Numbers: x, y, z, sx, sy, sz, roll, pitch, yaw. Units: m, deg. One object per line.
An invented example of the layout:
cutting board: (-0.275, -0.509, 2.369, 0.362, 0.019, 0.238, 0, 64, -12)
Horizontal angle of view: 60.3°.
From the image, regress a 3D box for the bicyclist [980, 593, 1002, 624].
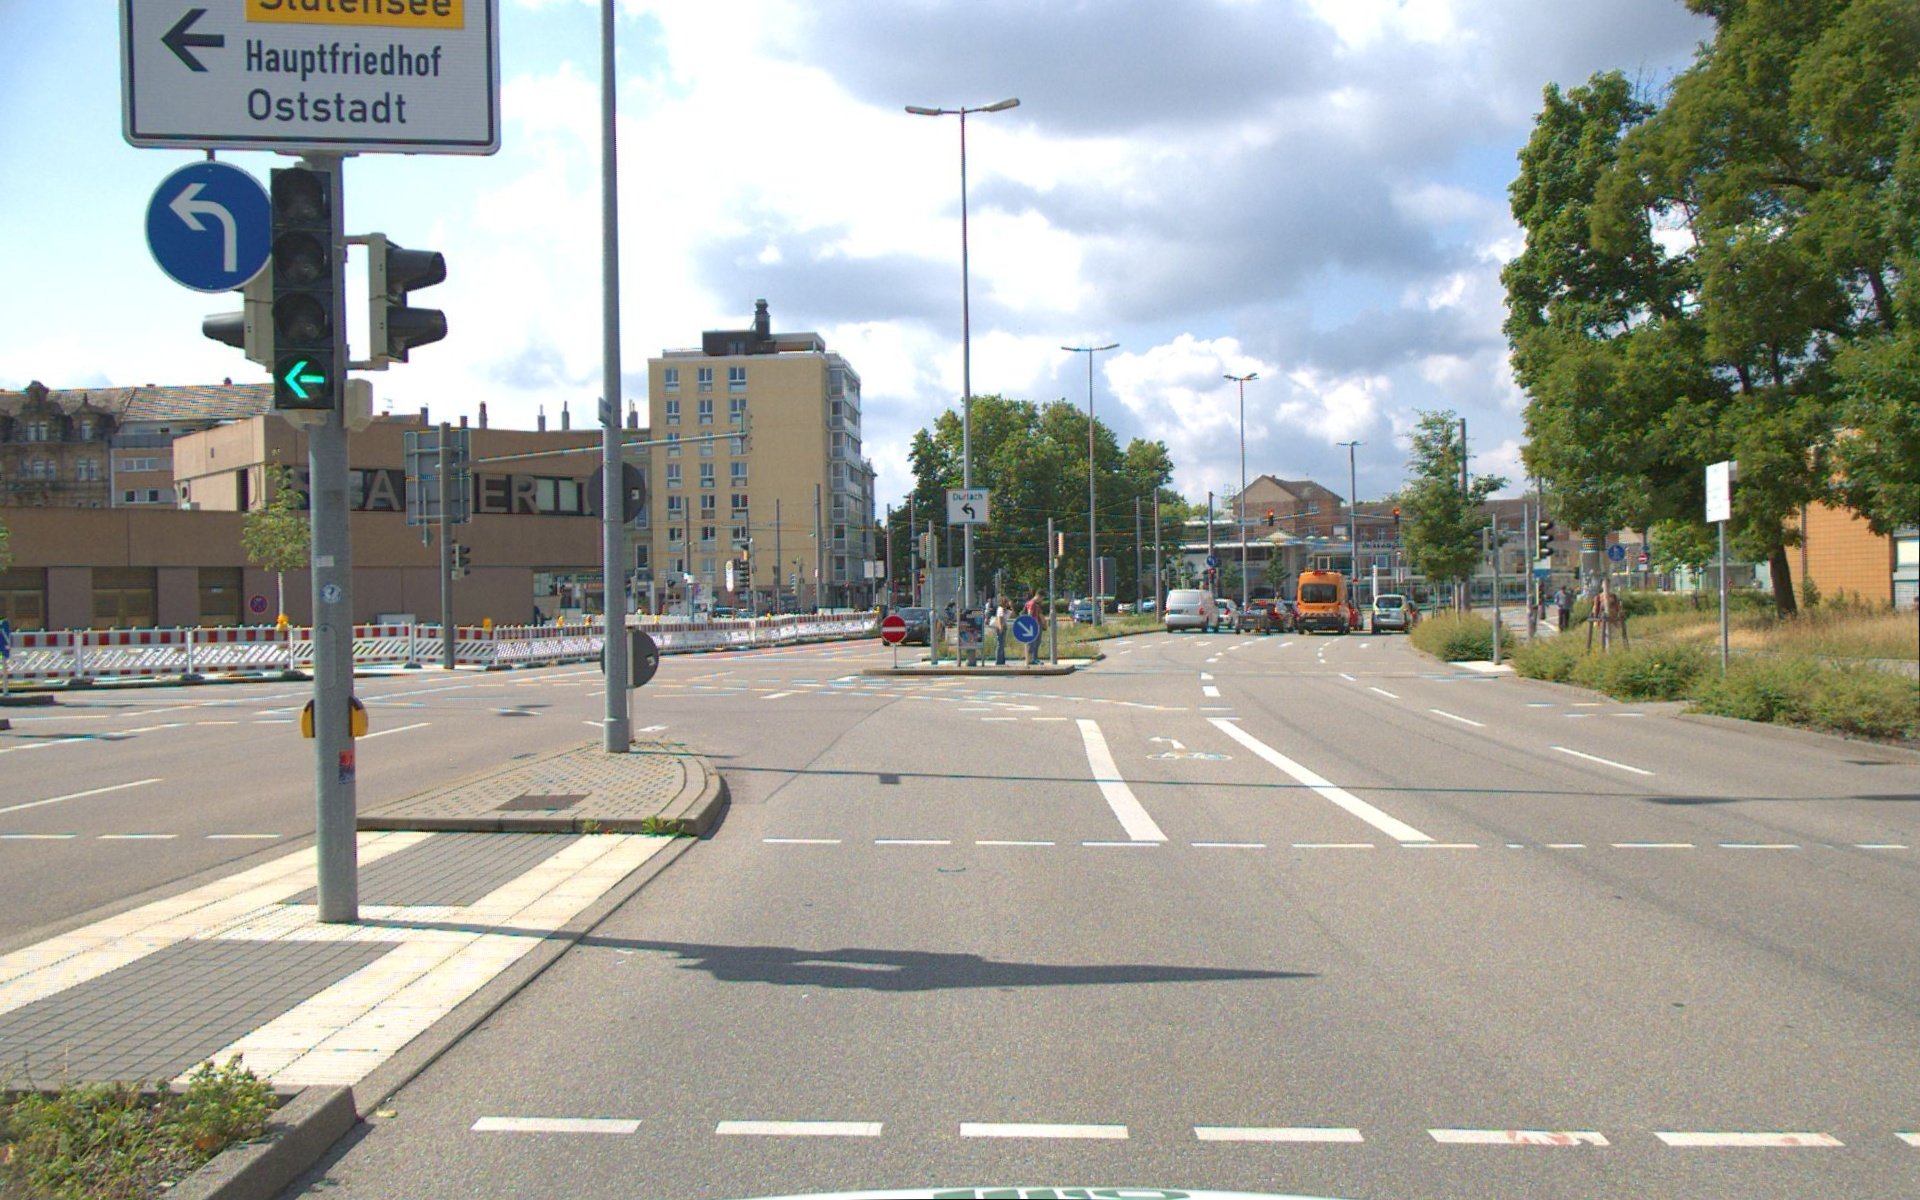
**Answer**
bicyclist: (1.976, 0.528, 105.670, 1.193, 1.943, 0.834, -1, 0, 17)

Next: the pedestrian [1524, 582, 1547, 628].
pedestrian: (22.729, 0.204, 65.300, 0.772, 1.815, 0.667, -1, 0, 22)

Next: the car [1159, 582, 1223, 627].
car: (10.787, 0.193, 76.938, 1.964, 2.001, 4.640, -2, 0, 20)

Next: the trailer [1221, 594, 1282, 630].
trailer: (13.173, 0.509, 74.615, 1.952, 1.503, 4.000, -2, 0, 21)

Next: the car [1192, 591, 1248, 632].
car: (13.364, 0.581, 84.692, 1.950, 1.972, 4.640, -2, 0, 20)

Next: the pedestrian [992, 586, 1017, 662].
pedestrian: (1.042, 0.559, 38.875, 0.513, 1.764, 0.624, -1, 0, 6)

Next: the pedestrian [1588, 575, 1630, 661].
pedestrian: (13.534, 0.369, 34.504, 0.646, 1.764, 0.578, -1, 0, 4)

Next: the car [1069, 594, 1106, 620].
car: (7.908, 0.429, 102.237, 1.626, 1.506, 4.065, 1, 0, 13)

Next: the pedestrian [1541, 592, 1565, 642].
pedestrian: (21.655, 0.621, 60.406, 0.771, 1.815, 0.667, -1, 0, 17)

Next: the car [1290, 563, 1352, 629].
car: (16.466, -0.182, 75.258, 2.086, 2.829, 4.640, -2, 0, 20)

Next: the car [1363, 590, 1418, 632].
car: (19.853, 0.469, 76.191, 1.952, 1.826, 4.000, -2, 0, 21)

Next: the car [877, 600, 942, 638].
car: (-1.932, 0.732, 64.335, 1.754, 1.412, 4.230, -1, 0, 9)

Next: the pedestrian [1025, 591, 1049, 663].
pedestrian: (1.860, 0.647, 40.058, 0.513, 1.713, 0.624, -1, 0, 6)

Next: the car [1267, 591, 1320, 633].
car: (16.971, 0.586, 83.997, 1.950, 1.972, 4.640, -2, 0, 20)

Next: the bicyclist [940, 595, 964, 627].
bicyclist: (-0.478, 0.655, 100.874, 1.193, 1.943, 0.859, -1, 0, 17)

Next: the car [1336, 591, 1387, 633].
car: (20.179, 0.582, 83.040, 1.950, 1.972, 4.640, -2, 0, 20)

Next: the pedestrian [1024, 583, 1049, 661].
pedestrian: (1.757, 0.490, 37.935, 0.513, 1.764, 0.624, -1, 0, 6)

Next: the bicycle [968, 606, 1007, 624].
bicycle: (1.779, 0.960, 105.730, 2.328, 1.085, 0.843, -1, 0, 17)

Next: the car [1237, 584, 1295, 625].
car: (14.441, 0.191, 77.922, 1.952, 1.858, 4.000, -2, 0, 21)
